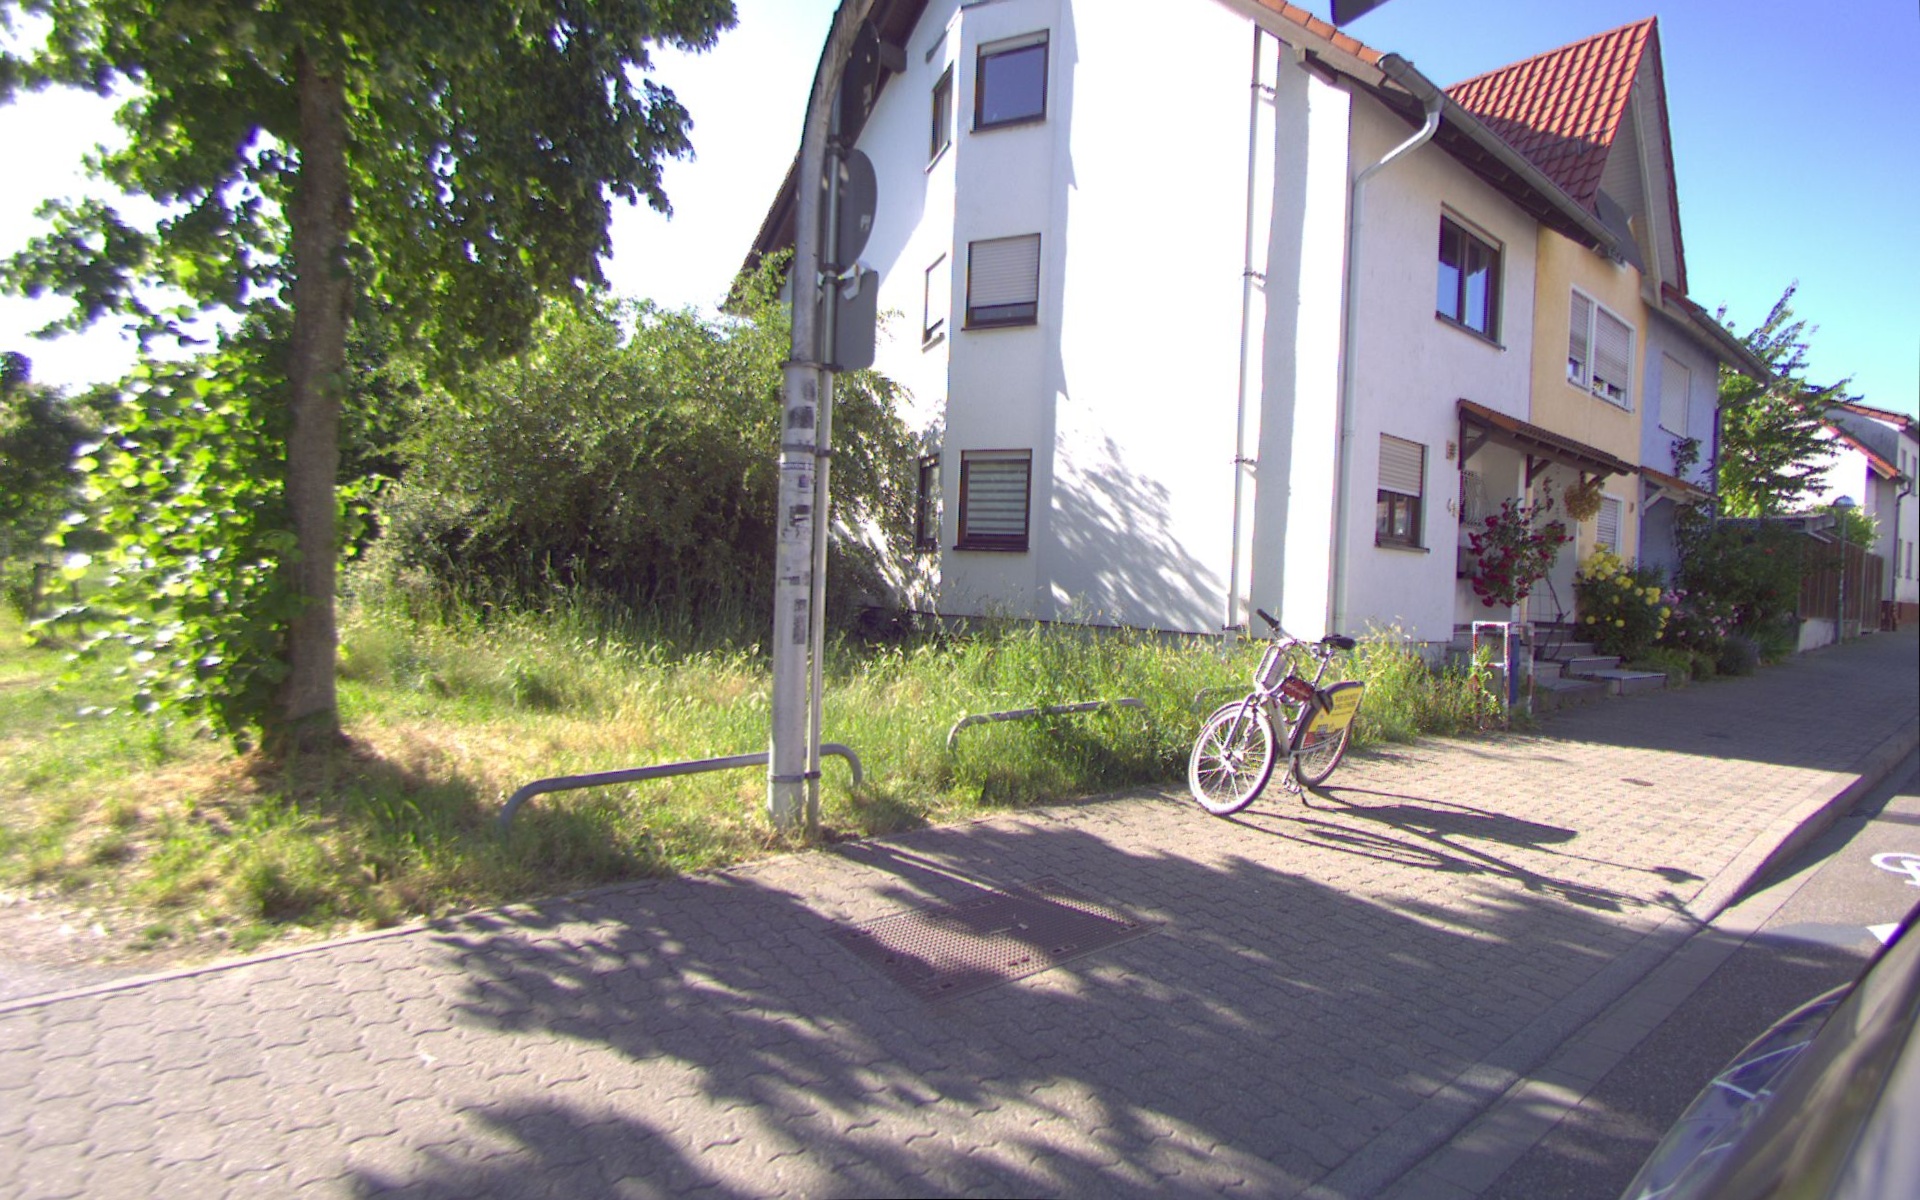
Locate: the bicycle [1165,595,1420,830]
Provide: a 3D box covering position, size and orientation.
[{"bbox_3d":[2.021,0.596,6.077,1.513,1.170,0.690,0,6,-42],"label":"bicycle"}]
